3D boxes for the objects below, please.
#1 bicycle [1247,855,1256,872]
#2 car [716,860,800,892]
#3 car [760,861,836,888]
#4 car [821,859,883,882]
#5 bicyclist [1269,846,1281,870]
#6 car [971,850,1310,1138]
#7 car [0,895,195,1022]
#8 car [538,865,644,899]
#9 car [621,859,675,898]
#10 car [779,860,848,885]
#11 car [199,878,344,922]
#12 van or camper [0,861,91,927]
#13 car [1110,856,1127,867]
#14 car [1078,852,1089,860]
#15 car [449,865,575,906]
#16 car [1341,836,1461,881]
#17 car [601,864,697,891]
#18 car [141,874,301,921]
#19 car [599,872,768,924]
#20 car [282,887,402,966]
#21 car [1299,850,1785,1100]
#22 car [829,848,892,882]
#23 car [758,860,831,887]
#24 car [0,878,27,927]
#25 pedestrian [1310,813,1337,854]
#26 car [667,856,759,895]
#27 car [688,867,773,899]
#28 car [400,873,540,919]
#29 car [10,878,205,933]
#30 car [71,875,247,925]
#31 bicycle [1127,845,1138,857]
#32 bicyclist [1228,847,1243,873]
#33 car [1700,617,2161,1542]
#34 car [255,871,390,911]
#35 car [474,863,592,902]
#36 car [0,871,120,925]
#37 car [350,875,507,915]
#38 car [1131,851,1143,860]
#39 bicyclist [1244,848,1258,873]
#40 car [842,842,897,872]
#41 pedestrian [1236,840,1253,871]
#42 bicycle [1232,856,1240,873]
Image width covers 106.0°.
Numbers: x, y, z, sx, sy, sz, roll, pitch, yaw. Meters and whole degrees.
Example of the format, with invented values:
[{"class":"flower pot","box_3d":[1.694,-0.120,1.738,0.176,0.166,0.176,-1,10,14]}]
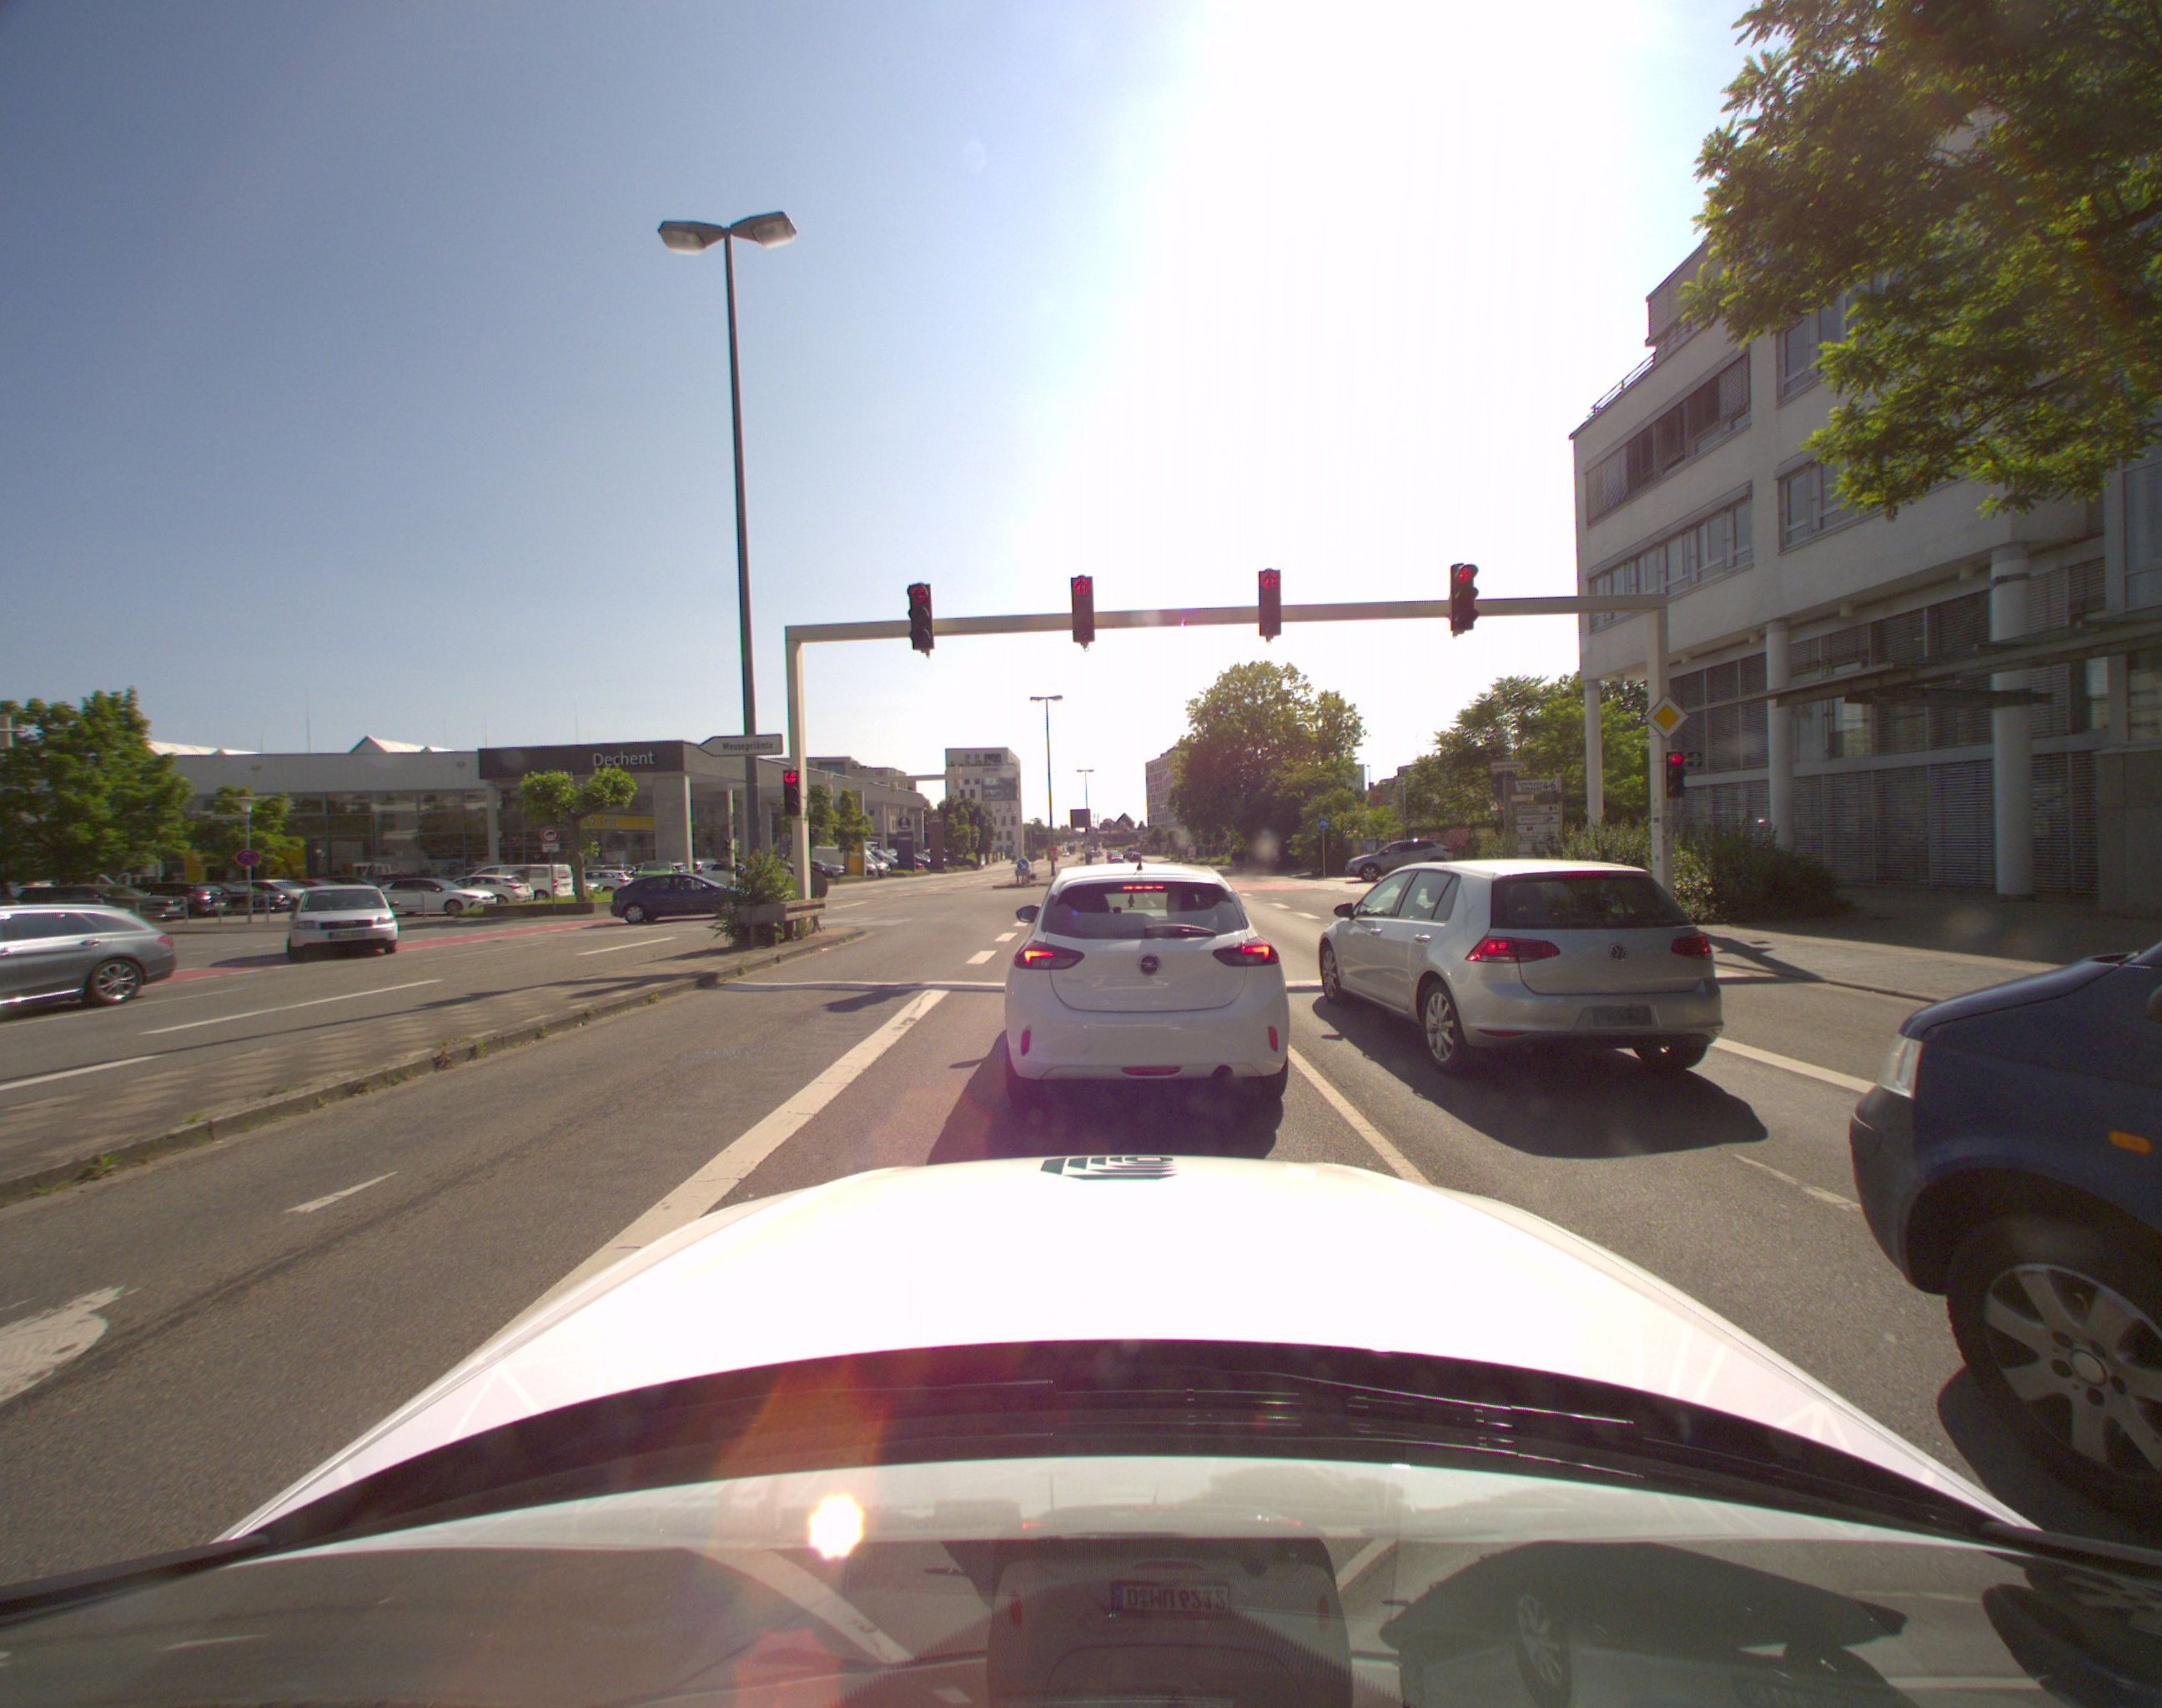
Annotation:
[{"class":"bicycle","box_3d":[11.660,0.673,55.594,0.372,1.147,1.034,0,-1,0]},{"class":"car","box_3d":[-19.606,1.320,49.590,4.284,1.765,1.999,-2,0,-1]},{"class":"car","box_3d":[-18.986,1.348,54.716,4.343,1.696,1.999,-2,0,-1]},{"class":"car","box_3d":[-18.509,1.332,65.909,4.334,1.696,2.004,-2,0,6]},{"class":"bicyclist","box_3d":[13.399,0.271,56.213,0.650,1.637,0.660,0,-1,1]},{"class":"car","box_3d":[0.376,0.755,6.387,1.773,1.494,4.001,-2,0,2]},{"class":"car","box_3d":[-14.171,1.388,9.880,1.952,1.427,4.579,-3,0,-4]},{"class":"car","box_3d":[-26.161,1.491,43.592,4.352,1.591,1.996,-2,0,-7]},{"class":"car","box_3d":[-21.256,1.213,39.964,1.915,1.733,3.258,-2,-1,-35]},{"class":"car","box_3d":[-19.741,1.361,60.163,4.344,1.696,1.999,-2,0,-1]},{"class":"car","box_3d":[-36.691,2.057,37.018,4.348,1.696,1.997,-2,0,-4]},{"class":"van or camper","box_3d":[-41.950,1.569,31.346,4.711,2.400,1.995,-2,0,-8]},{"class":"car","box_3d":[4.664,0.989,101.740,1.987,1.331,3.998,0,-1,-1]},{"class":"car","box_3d":[0.418,0.386,142.885,1.799,1.386,4.001,0,-1,2]},{"class":"car","box_3d":[-26.552,1.437,38.156,4.353,1.696,1.995,-2,0,-7]},{"class":"car","box_3d":[13.539,0.206,34.719,4.389,1.551,2.007,-4,-1,12]},{"class":"car","box_3d":[-24.707,1.370,46.687,4.352,1.268,1.995,-3,-2,-7]},{"class":"car","box_3d":[-36.067,1.792,34.274,4.348,1.696,1.997,-2,0,-4]},{"class":"car","box_3d":[-12.323,1.335,25.525,4.359,1.447,1.992,-1,0,-12]},{"class":"car","box_3d":[-16.413,1.504,18.090,1.788,1.438,3.867,-2,0,-43]},{"class":"car","box_3d":[3.298,0.740,6.873,1.801,1.429,3.999,-2,-1,0]},{"class":"car","box_3d":[-18.476,0.933,68.360,4.469,2.684,2.134,-2,0,10]},{"class":"car","box_3d":[-20.010,1.377,57.098,4.344,1.696,1.999,-2,0,-1]},{"class":"car","box_3d":[-40.605,1.807,28.338,4.371,1.696,1.987,-2,0,-20]},{"class":"pedestrian","box_3d":[12.384,-1.017,41.535,1.023,2.013,1.039,-2,0,1]},{"class":"car","box_3d":[-19.262,1.089,42.785,3.859,1.837,1.999,-2,0,-1]},{"class":"car","box_3d":[-20.138,1.651,46.901,3.981,1.599,1.996,-2,0,-6]},{"class":"car","box_3d":[-26.099,1.769,34.918,4.348,1.696,1.997,-2,0,-4]},{"class":"car","box_3d":[-35.107,1.813,29.485,4.348,1.696,1.997,-2,0,-4]},{"class":"car","box_3d":[-36.109,1.761,32.009,4.348,1.696,1.997,-2,0,-4]},{"class":"bicycle","box_3d":[9.829,-0.507,155.525,1.986,2.157,4.001,-2,0,1]},{"class":"bicyclist","box_3d":[10.756,0.427,56.616,0.876,1.772,0.864,-2,0,1]},{"class":"car","box_3d":[3.219,0.443,0.510,1.986,1.948,4.892,-2,-1,2]},{"class":"car","box_3d":[-36.622,1.773,39.421,4.352,1.696,1.995,-2,0,-7]},{"class":"car","box_3d":[-27.076,1.394,40.367,4.353,1.696,1.995,-2,0,-7]},{"class":"car","box_3d":[-43.165,1.819,33.705,3.984,2.013,1.995,-2,0,-8]},{"class":"car","box_3d":[-25.422,1.581,31.878,4.348,1.300,1.997,-2,0,-4]},{"class":"car","box_3d":[9.285,0.218,135.297,1.799,1.386,4.001,0,-1,2]},{"class":"bicyclist","box_3d":[11.639,0.428,55.670,0.687,1.643,0.775,-2,0,-7]},{"class":"car","box_3d":[-19.101,0.264,73.695,4.334,2.601,2.004,-2,0,6]},{"class":"pedestrian","box_3d":[12.127,0.094,60.353,1.023,2.238,1.039,-2,0,1]},{"class":"bicycle","box_3d":[10.798,0.716,56.595,0.371,1.216,1.154,0,0,2]}]
